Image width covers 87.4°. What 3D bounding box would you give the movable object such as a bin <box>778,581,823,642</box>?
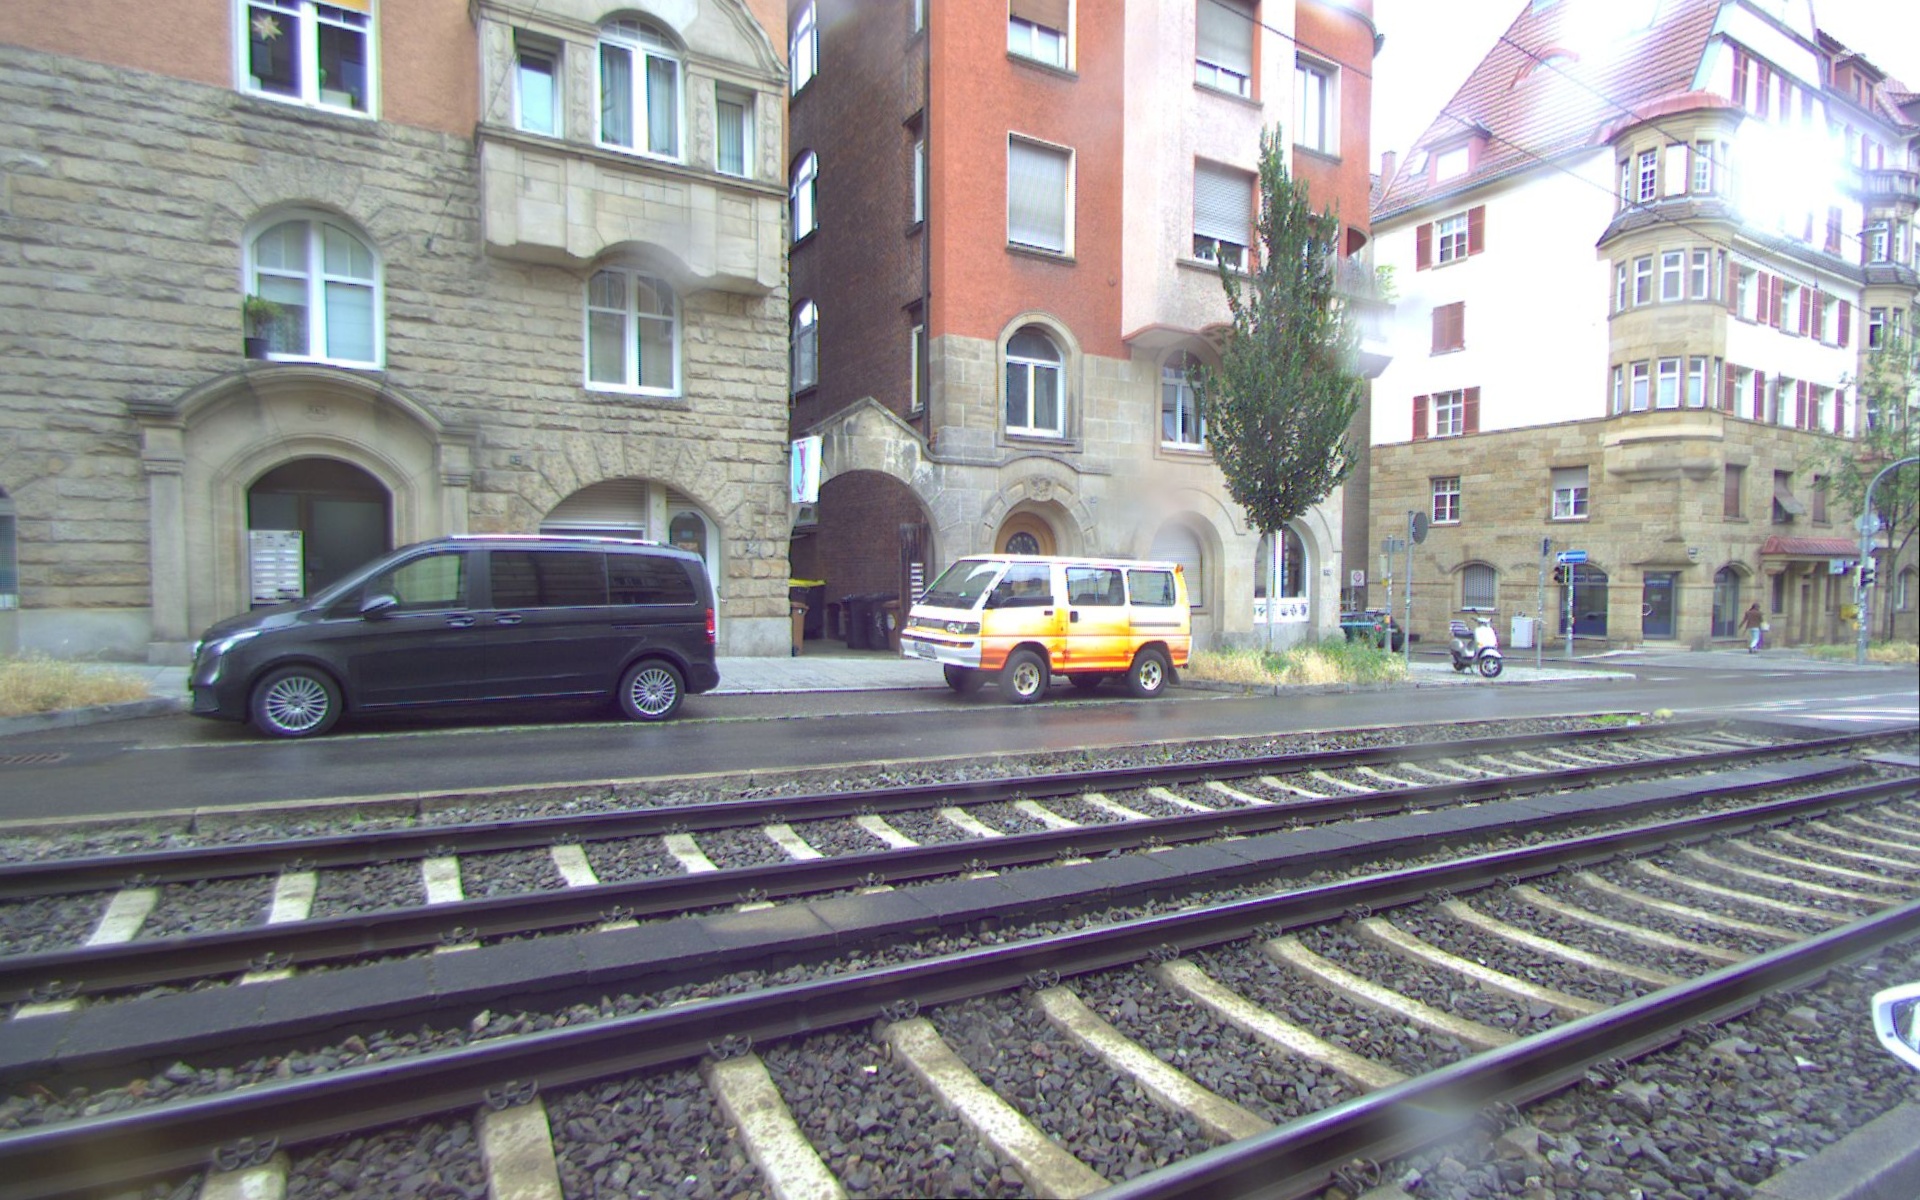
[{"bbox_3d":[-3.604,0.244,22.656,0.676,1.324,1.154,1,1,-26],"label":"movable object such as a bin"}]

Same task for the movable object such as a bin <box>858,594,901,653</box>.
[{"bbox_3d":[-1.539,0.443,19.138,0.607,1.090,0.679,1,-1,-27],"label":"movable object such as a bin"}]

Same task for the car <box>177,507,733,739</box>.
[{"bbox_3d":[-5.043,0.253,10.593,4.769,1.968,1.984,2,0,-30],"label":"car"}]

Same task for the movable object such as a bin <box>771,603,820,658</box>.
[{"bbox_3d":[-2.885,0.526,17.590,0.627,0.918,0.793,1,1,-27],"label":"movable object such as a bin"}]

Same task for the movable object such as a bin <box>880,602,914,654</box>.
[{"bbox_3d":[-1.166,0.518,18.631,0.442,0.957,0.557,1,-1,-27],"label":"movable object such as a bin"}]

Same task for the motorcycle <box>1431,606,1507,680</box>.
[{"bbox_3d":[10.113,0.827,20.001,0.612,1.384,1.596,2,0,-3],"label":"motorcycle"}]

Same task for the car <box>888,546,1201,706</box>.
[{"bbox_3d":[1.283,0.376,14.439,4.295,2.001,1.721,2,0,-32],"label":"car"}]

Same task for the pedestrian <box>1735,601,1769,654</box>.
[{"bbox_3d":[25.814,0.900,32.722,0.694,1.695,0.628,2,0,-30],"label":"pedestrian"}]

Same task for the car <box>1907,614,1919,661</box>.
[{"bbox_3d":[34.174,1.319,34.356,3.994,1.573,1.741,2,0,-34],"label":"car"}]

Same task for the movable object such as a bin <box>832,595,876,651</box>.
[{"bbox_3d":[-2.077,0.449,19.685,0.607,1.052,0.793,1,-1,-27],"label":"movable object such as a bin"}]

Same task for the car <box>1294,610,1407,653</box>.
[{"bbox_3d":[14.466,1.156,37.344,1.683,1.423,3.618,2,0,-34],"label":"car"}]

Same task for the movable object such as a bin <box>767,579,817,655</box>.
[{"bbox_3d":[-3.100,0.305,18.462,0.648,1.360,0.903,1,1,-27],"label":"movable object such as a bin"}]
